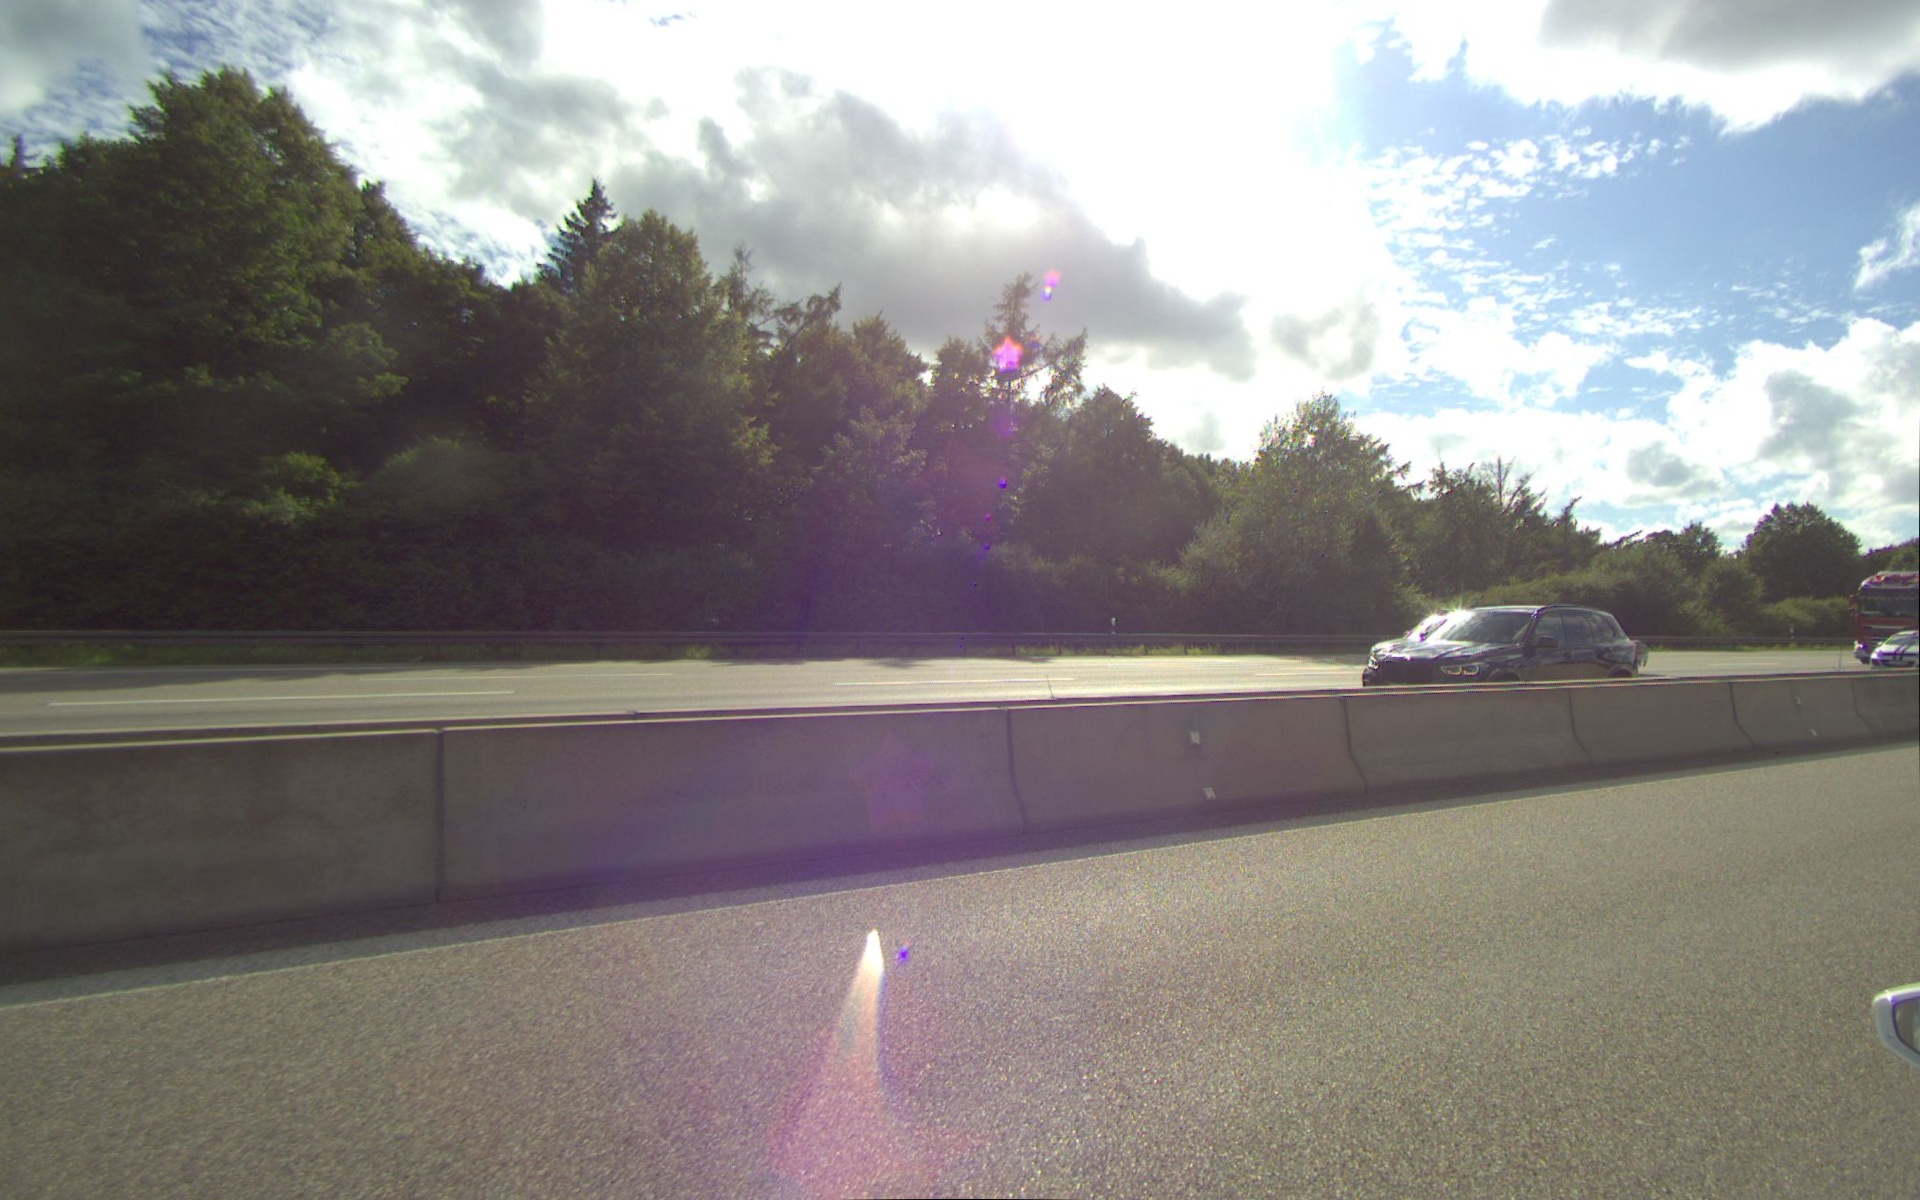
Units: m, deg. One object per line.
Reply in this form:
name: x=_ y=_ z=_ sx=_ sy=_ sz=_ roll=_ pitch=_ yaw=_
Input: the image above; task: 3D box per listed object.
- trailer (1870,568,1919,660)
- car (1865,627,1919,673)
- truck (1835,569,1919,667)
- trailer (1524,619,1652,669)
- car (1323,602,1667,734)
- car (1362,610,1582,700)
trailer: x=45.862 y=0.707 z=45.876 sx=11.143 sy=3.909 sz=2.954 roll=1 pitch=-1 yaw=-29
car: x=32.056 y=1.654 z=33.505 sx=3.951 sy=1.421 sz=1.596 roll=1 pitch=-1 yaw=-29
truck: x=40.798 y=0.781 z=43.005 sx=6.682 sy=3.909 sz=2.954 roll=1 pitch=-1 yaw=-29
trailer: x=19.219 y=1.334 z=30.704 sx=4.129 sy=1.421 sz=1.528 roll=1 pitch=-1 yaw=-29
car: x=8.219 y=0.940 z=15.303 sx=5.286 sy=1.722 sz=2.145 roll=1 pitch=-1 yaw=-30
car: x=10.757 y=1.102 z=21.028 sx=4.633 sy=1.686 sz=1.984 roll=1 pitch=-1 yaw=-31
